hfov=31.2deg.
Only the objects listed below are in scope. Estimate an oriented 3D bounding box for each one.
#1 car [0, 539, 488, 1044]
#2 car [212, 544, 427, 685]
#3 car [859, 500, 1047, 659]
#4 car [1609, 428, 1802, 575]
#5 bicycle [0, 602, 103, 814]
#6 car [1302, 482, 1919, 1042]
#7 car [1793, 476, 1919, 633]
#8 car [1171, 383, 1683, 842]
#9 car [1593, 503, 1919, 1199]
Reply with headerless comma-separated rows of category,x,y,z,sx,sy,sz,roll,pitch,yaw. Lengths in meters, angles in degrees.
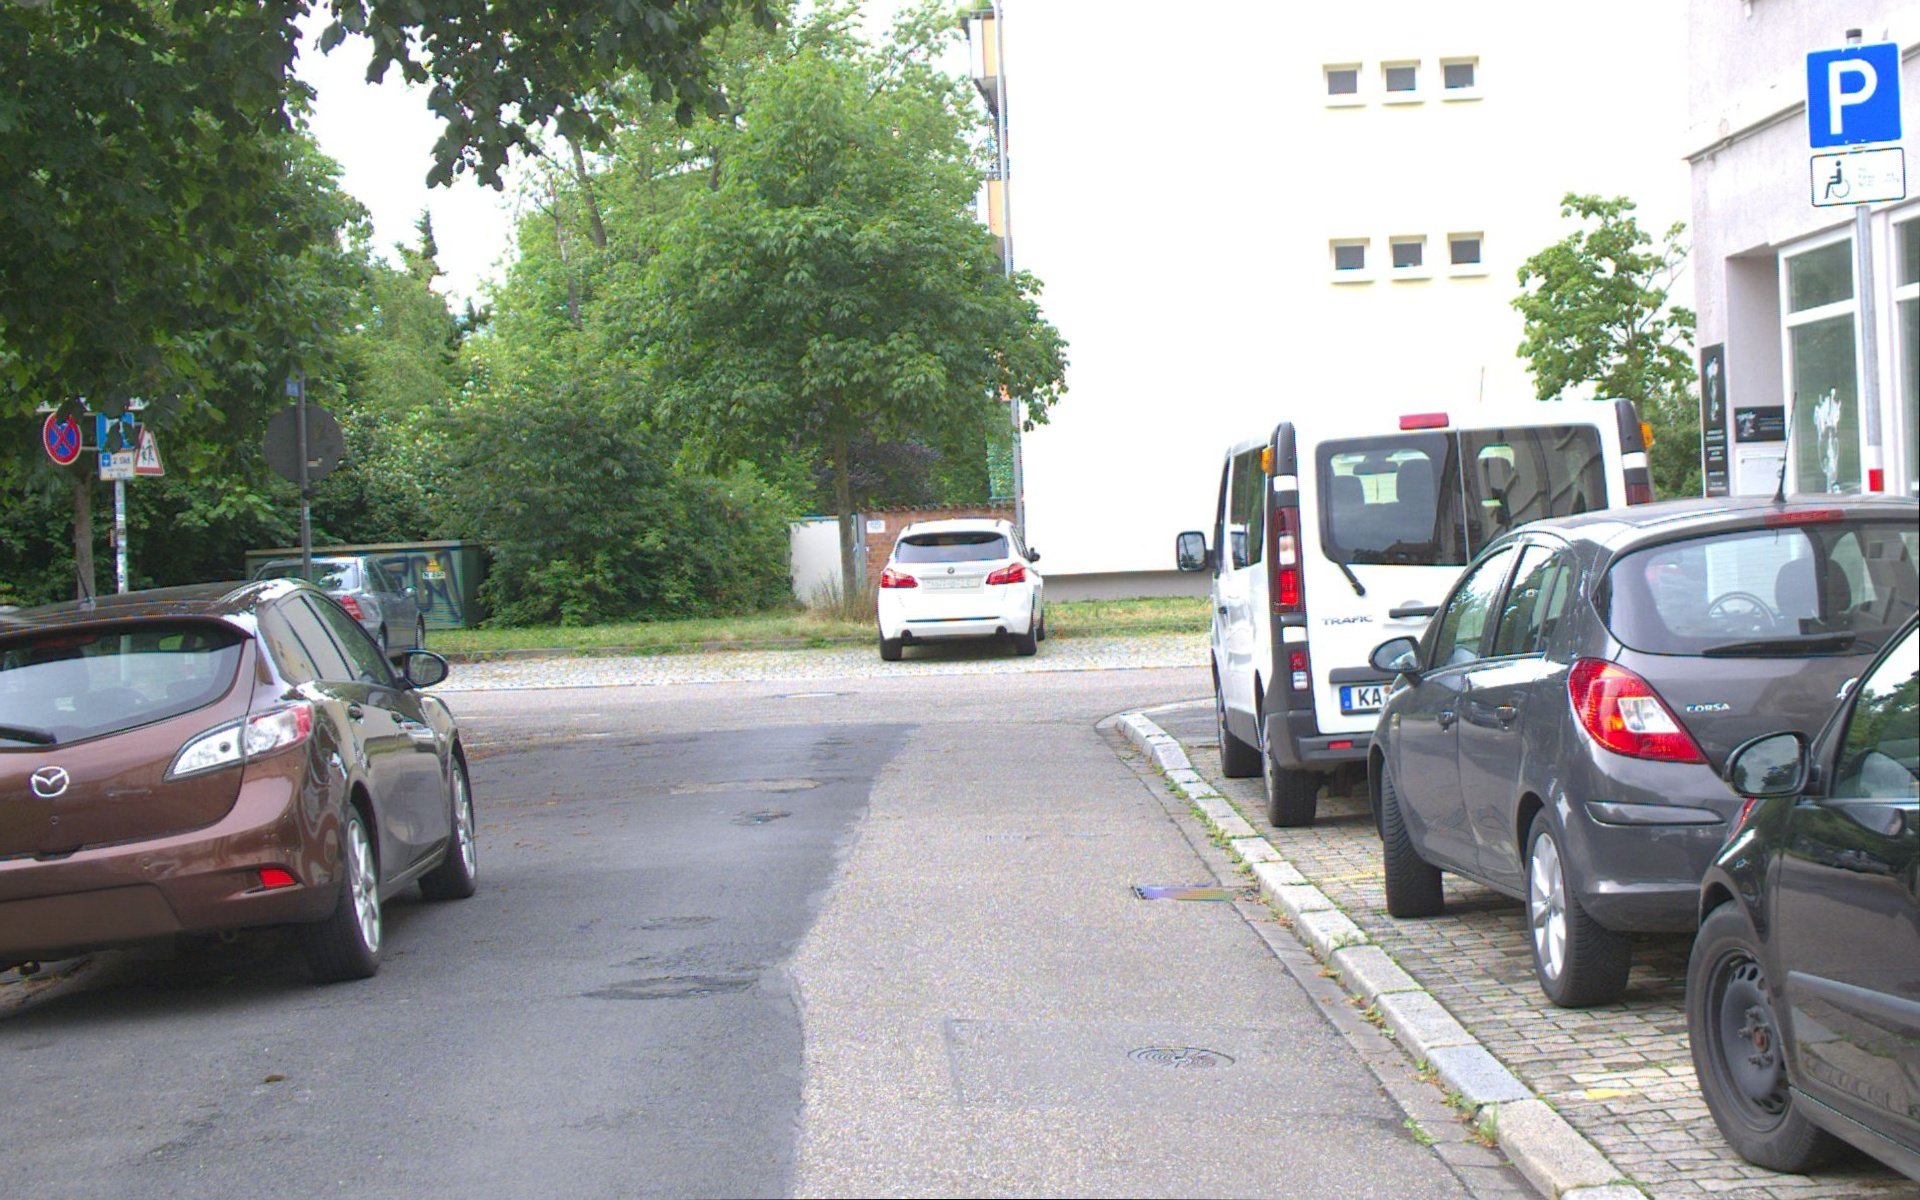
car,-2.968,0.606,12.882,1.711,1.453,4.163,-6,1,0
car,-7.584,0.126,41.113,1.674,1.449,4.561,-2,2,0
car,-0.028,-0.285,40.560,1.878,1.555,4.149,0,4,4
car,8.532,-1.161,39.627,1.836,1.560,4.356,-1,2,8
bicycle,-5.300,0.572,18.823,0.666,1.063,1.885,-2,1,1
car,2.345,0.393,11.455,1.687,1.449,3.902,-4,1,-4
car,10.974,-0.582,40.364,1.911,1.691,4.068,-1,2,8
car,2.280,-0.008,18.135,1.878,1.989,5.013,-3,1,0
car,2.547,0.531,6.617,1.688,1.449,4.545,-4,2,0
